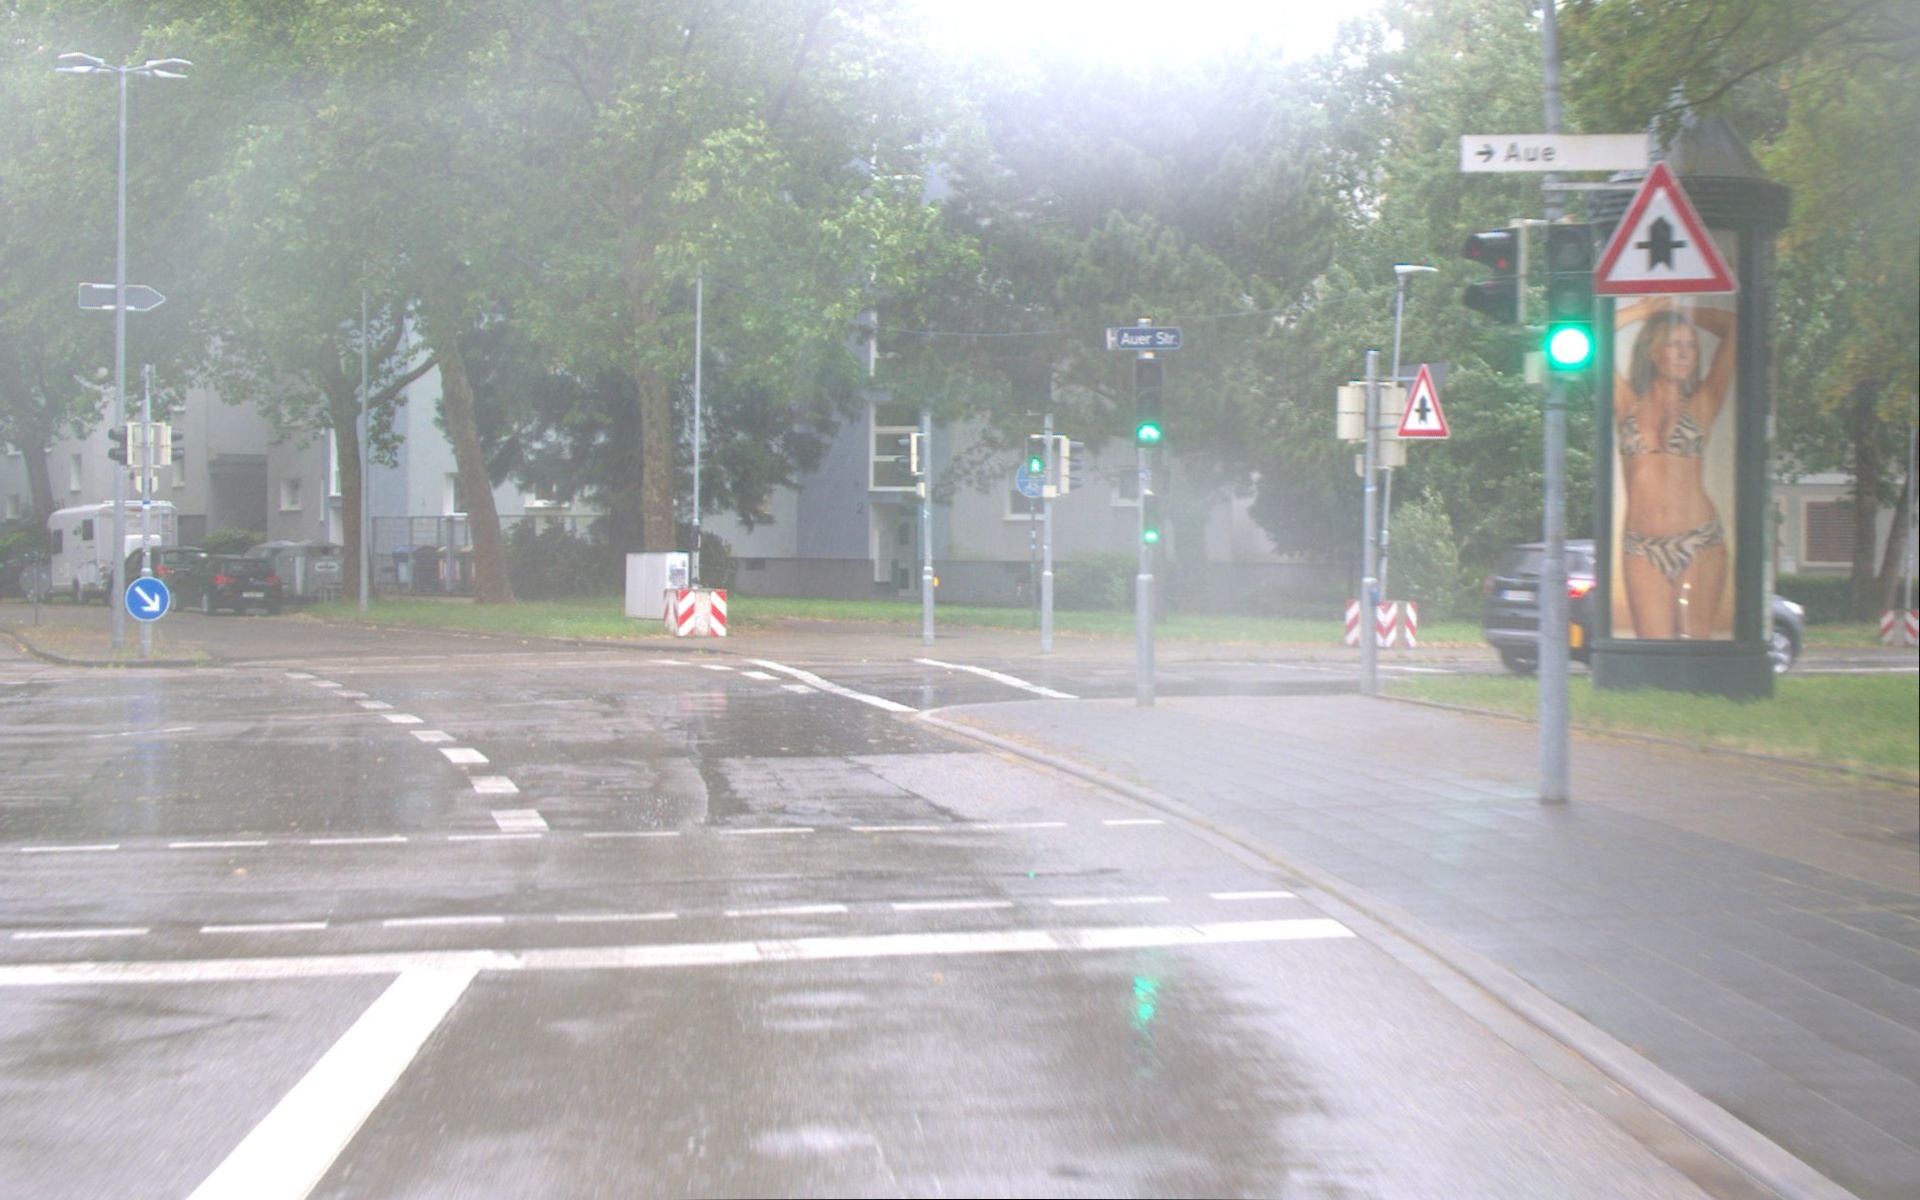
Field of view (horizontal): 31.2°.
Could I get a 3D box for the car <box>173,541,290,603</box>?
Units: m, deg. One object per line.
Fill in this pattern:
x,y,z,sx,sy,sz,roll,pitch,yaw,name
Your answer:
-17.237,-0.673,81.227,1.548,1.385,4.150,1,1,-29,car

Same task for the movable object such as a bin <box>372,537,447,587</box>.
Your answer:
-16.046,-1.107,100.165,1.861,1.427,1.214,2,1,41,movable object such as a bin

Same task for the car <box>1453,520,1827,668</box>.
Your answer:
8.476,-0.068,42.783,4.290,1.738,2.000,1,1,-31,car

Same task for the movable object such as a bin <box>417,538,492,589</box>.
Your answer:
-14.557,-1.047,98.972,1.861,1.427,1.214,2,1,41,movable object such as a bin

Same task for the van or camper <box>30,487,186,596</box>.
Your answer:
-23.109,-1.573,92.992,2.318,2.798,6.864,1,0,-29,van or camper

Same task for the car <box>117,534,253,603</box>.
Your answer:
-19.369,-0.765,85.781,1.915,1.615,4.453,1,-1,-32,car
